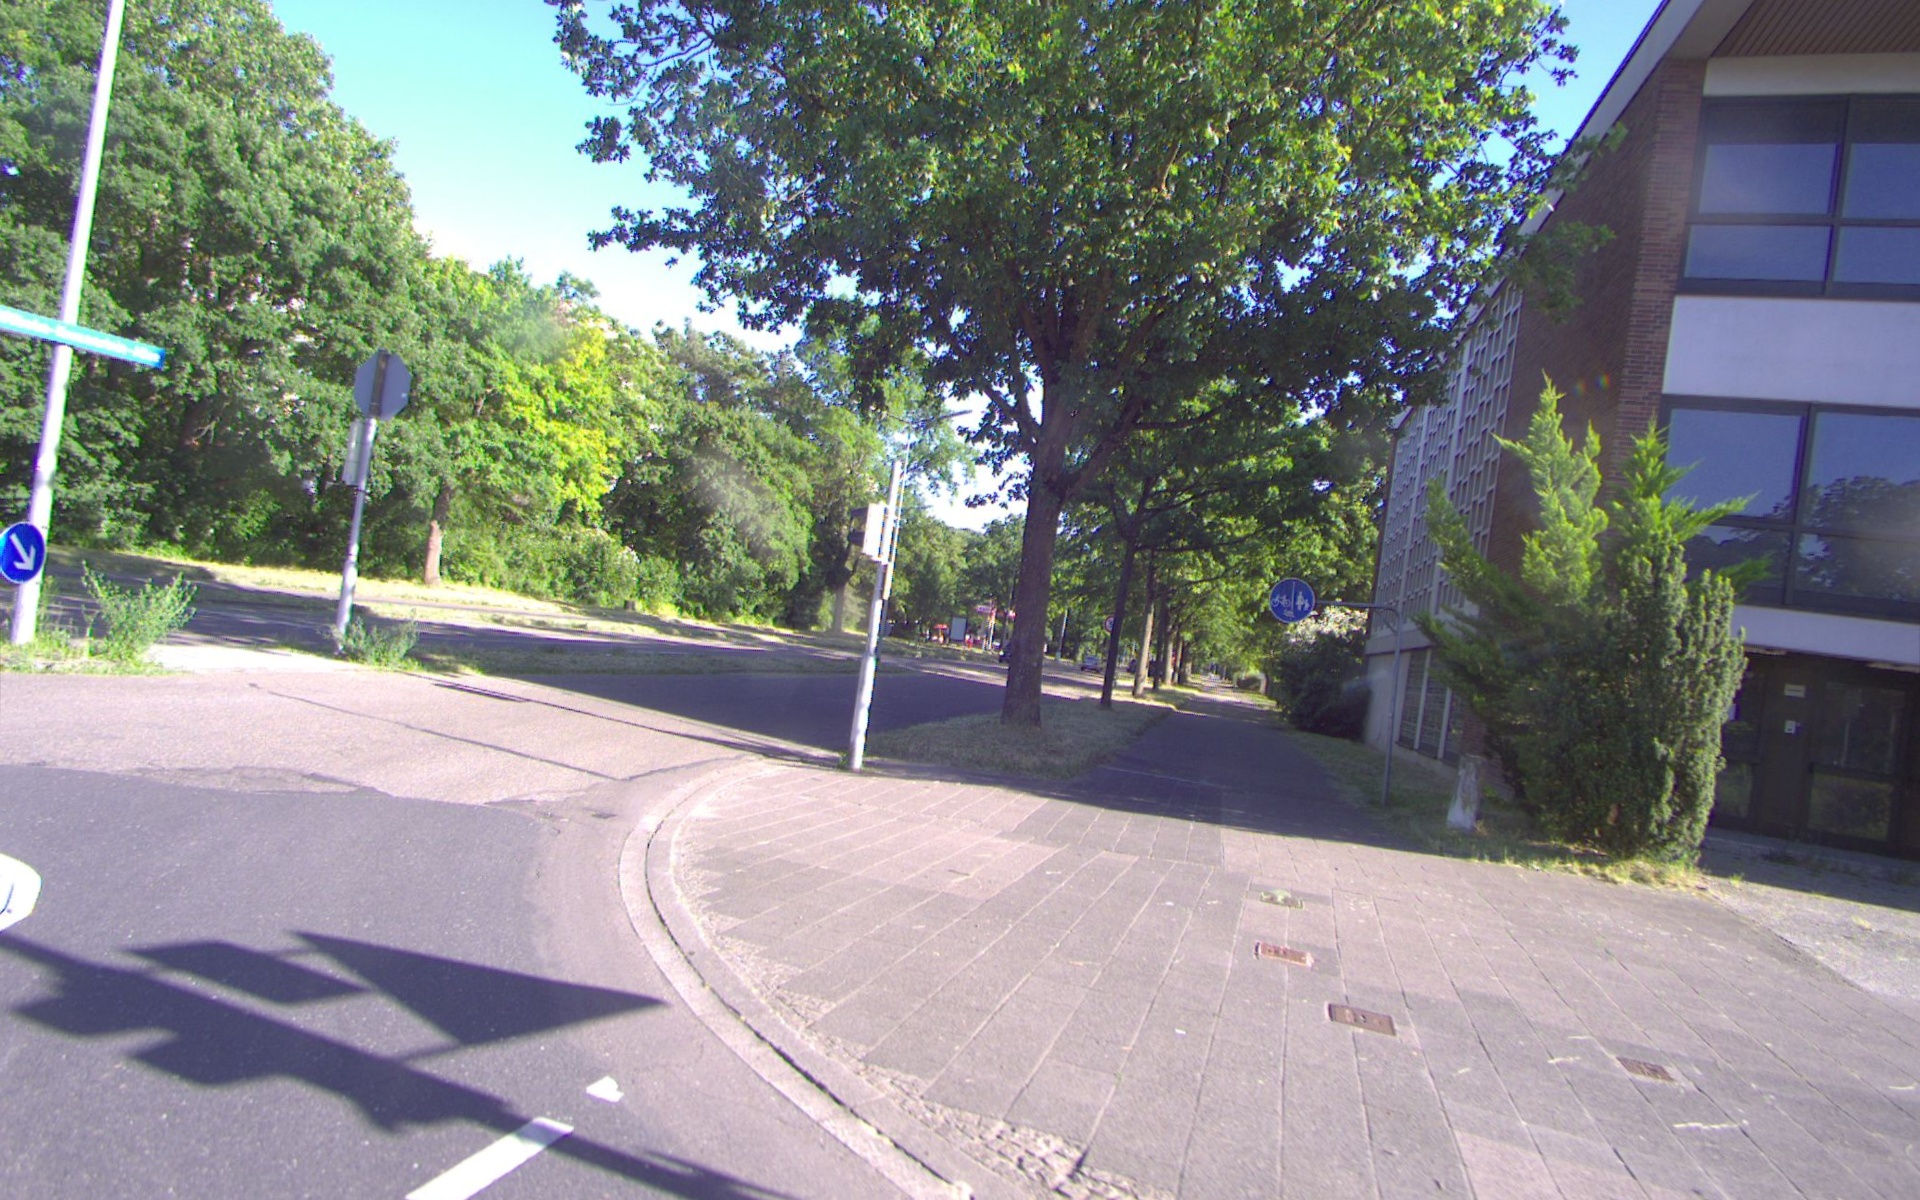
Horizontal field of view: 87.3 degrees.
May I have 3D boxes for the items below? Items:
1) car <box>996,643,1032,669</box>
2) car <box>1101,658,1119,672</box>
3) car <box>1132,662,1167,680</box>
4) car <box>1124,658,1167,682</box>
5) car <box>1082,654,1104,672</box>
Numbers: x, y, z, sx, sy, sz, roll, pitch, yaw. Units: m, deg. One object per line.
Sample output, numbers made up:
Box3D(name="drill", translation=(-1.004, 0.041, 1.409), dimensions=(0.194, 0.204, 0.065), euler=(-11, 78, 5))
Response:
Box3D(name="car", translation=(4.362, 4.532, 80.904), dimensions=(1.810, 1.727, 4.510), euler=(7, -2, 15))
Box3D(name="car", translation=(17.533, 7.583, 117.493), dimensions=(1.634, 1.351, 3.672), euler=(7, -3, 12))
Box3D(name="car", translation=(20.576, 7.686, 109.115), dimensions=(3.595, 1.413, 1.320), euler=(7, -3, 13))
Box3D(name="car", translation=(20.661, 7.812, 112.118), dimensions=(4.431, 1.974, 1.691), euler=(7, -3, 13))
Box3D(name="car", translation=(12.453, 5.896, 94.376), dimensions=(1.634, 1.351, 3.672), euler=(7, -3, 12))
